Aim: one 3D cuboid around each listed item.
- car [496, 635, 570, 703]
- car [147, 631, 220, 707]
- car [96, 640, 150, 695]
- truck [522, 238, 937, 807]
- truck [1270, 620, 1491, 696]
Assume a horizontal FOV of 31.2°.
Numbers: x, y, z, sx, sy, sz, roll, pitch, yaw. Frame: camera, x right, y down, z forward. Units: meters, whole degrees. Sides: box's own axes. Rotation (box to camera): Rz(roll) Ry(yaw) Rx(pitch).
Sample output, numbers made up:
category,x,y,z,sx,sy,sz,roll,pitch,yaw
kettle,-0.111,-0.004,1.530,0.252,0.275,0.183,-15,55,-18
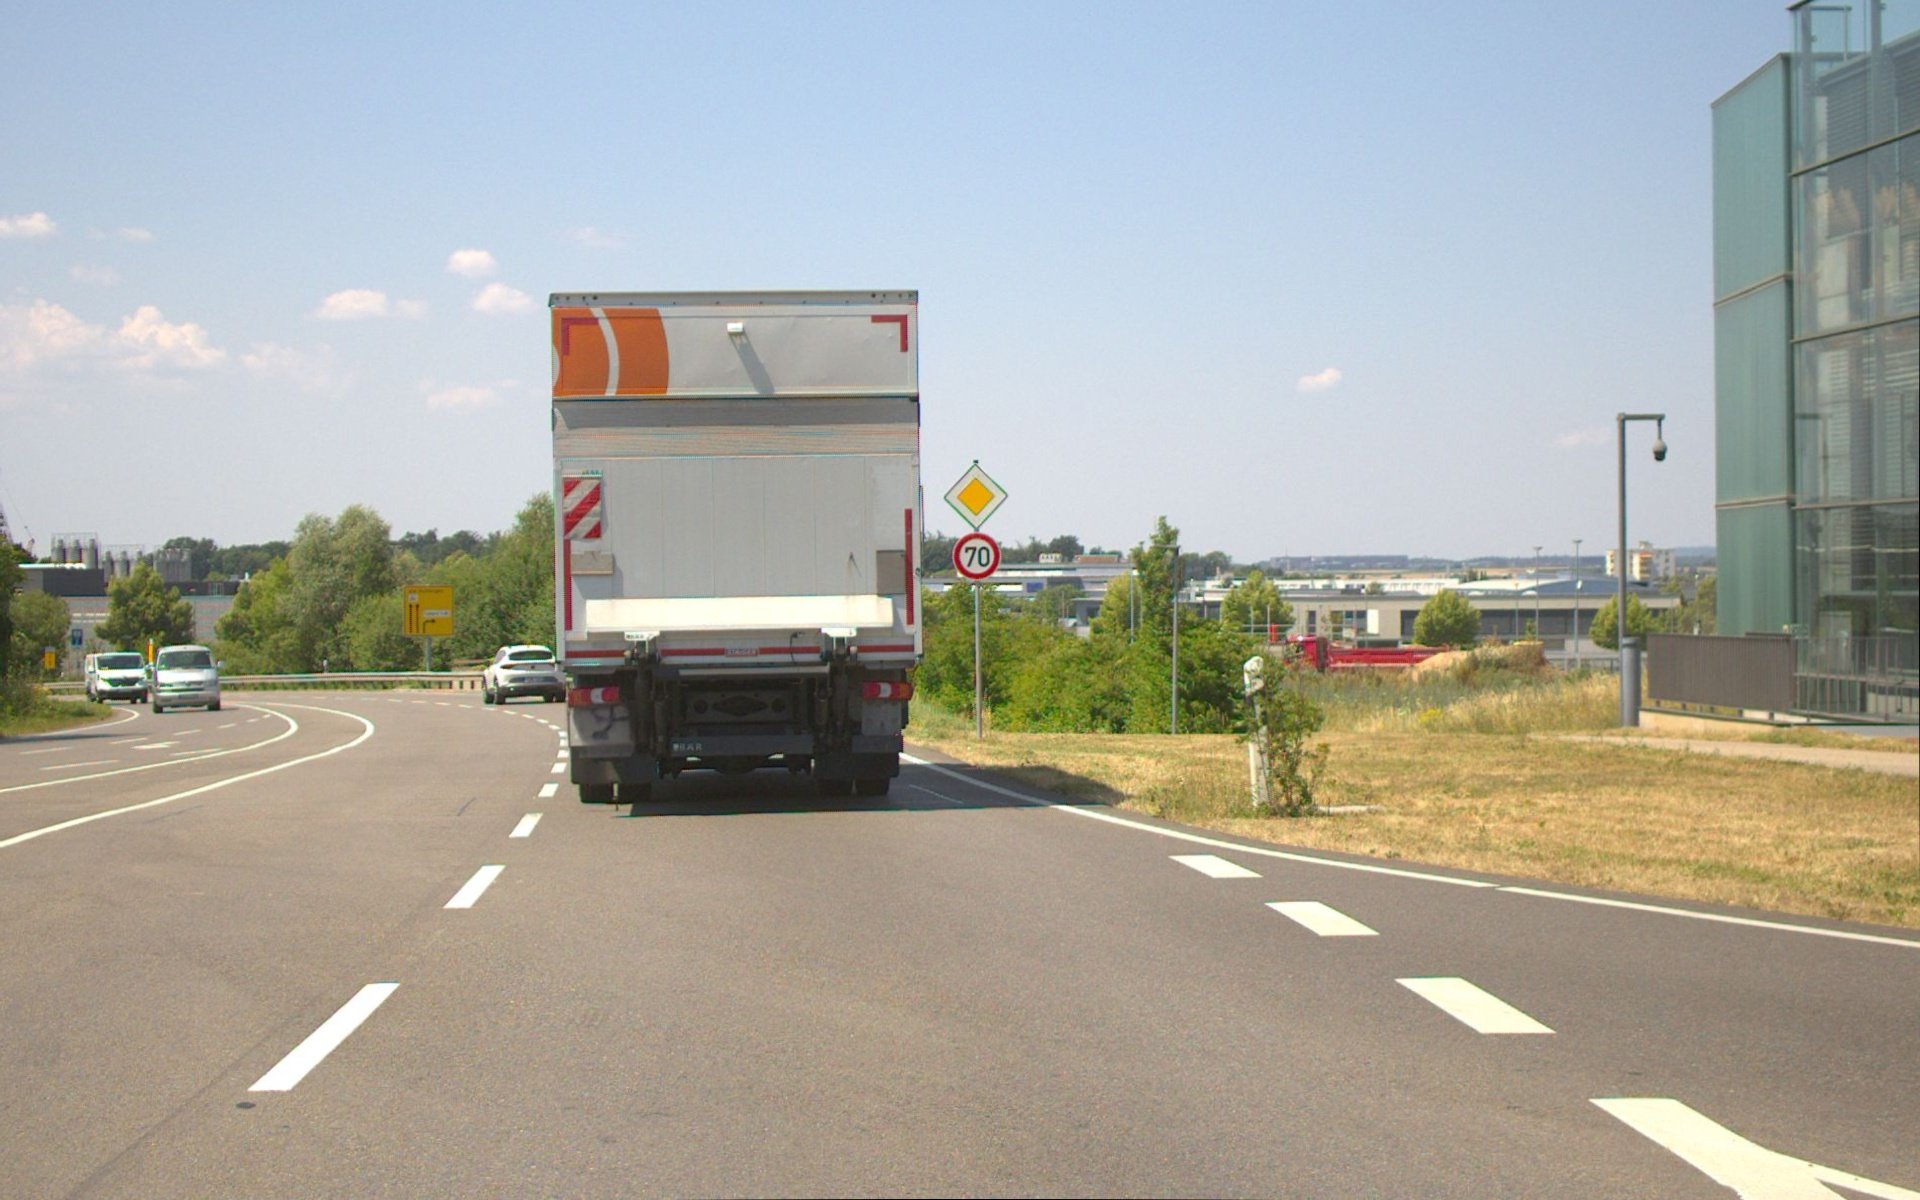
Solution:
category,x,y,z,sx,sy,sz,roll,pitch,yaw
car,-11.162,1.787,90.087,1.802,1.551,4.001,2,1,-6
car,-22.475,1.990,99.428,1.802,1.964,4.001,2,1,-15
car,-31.550,2.539,129.461,1.802,1.833,4.001,2,1,-15
truck,-1.942,-0.433,28.137,2.769,3.847,9.371,-1,-1,-5
truck,20.554,2.810,168.483,10.376,3.208,2.454,3,1,23
